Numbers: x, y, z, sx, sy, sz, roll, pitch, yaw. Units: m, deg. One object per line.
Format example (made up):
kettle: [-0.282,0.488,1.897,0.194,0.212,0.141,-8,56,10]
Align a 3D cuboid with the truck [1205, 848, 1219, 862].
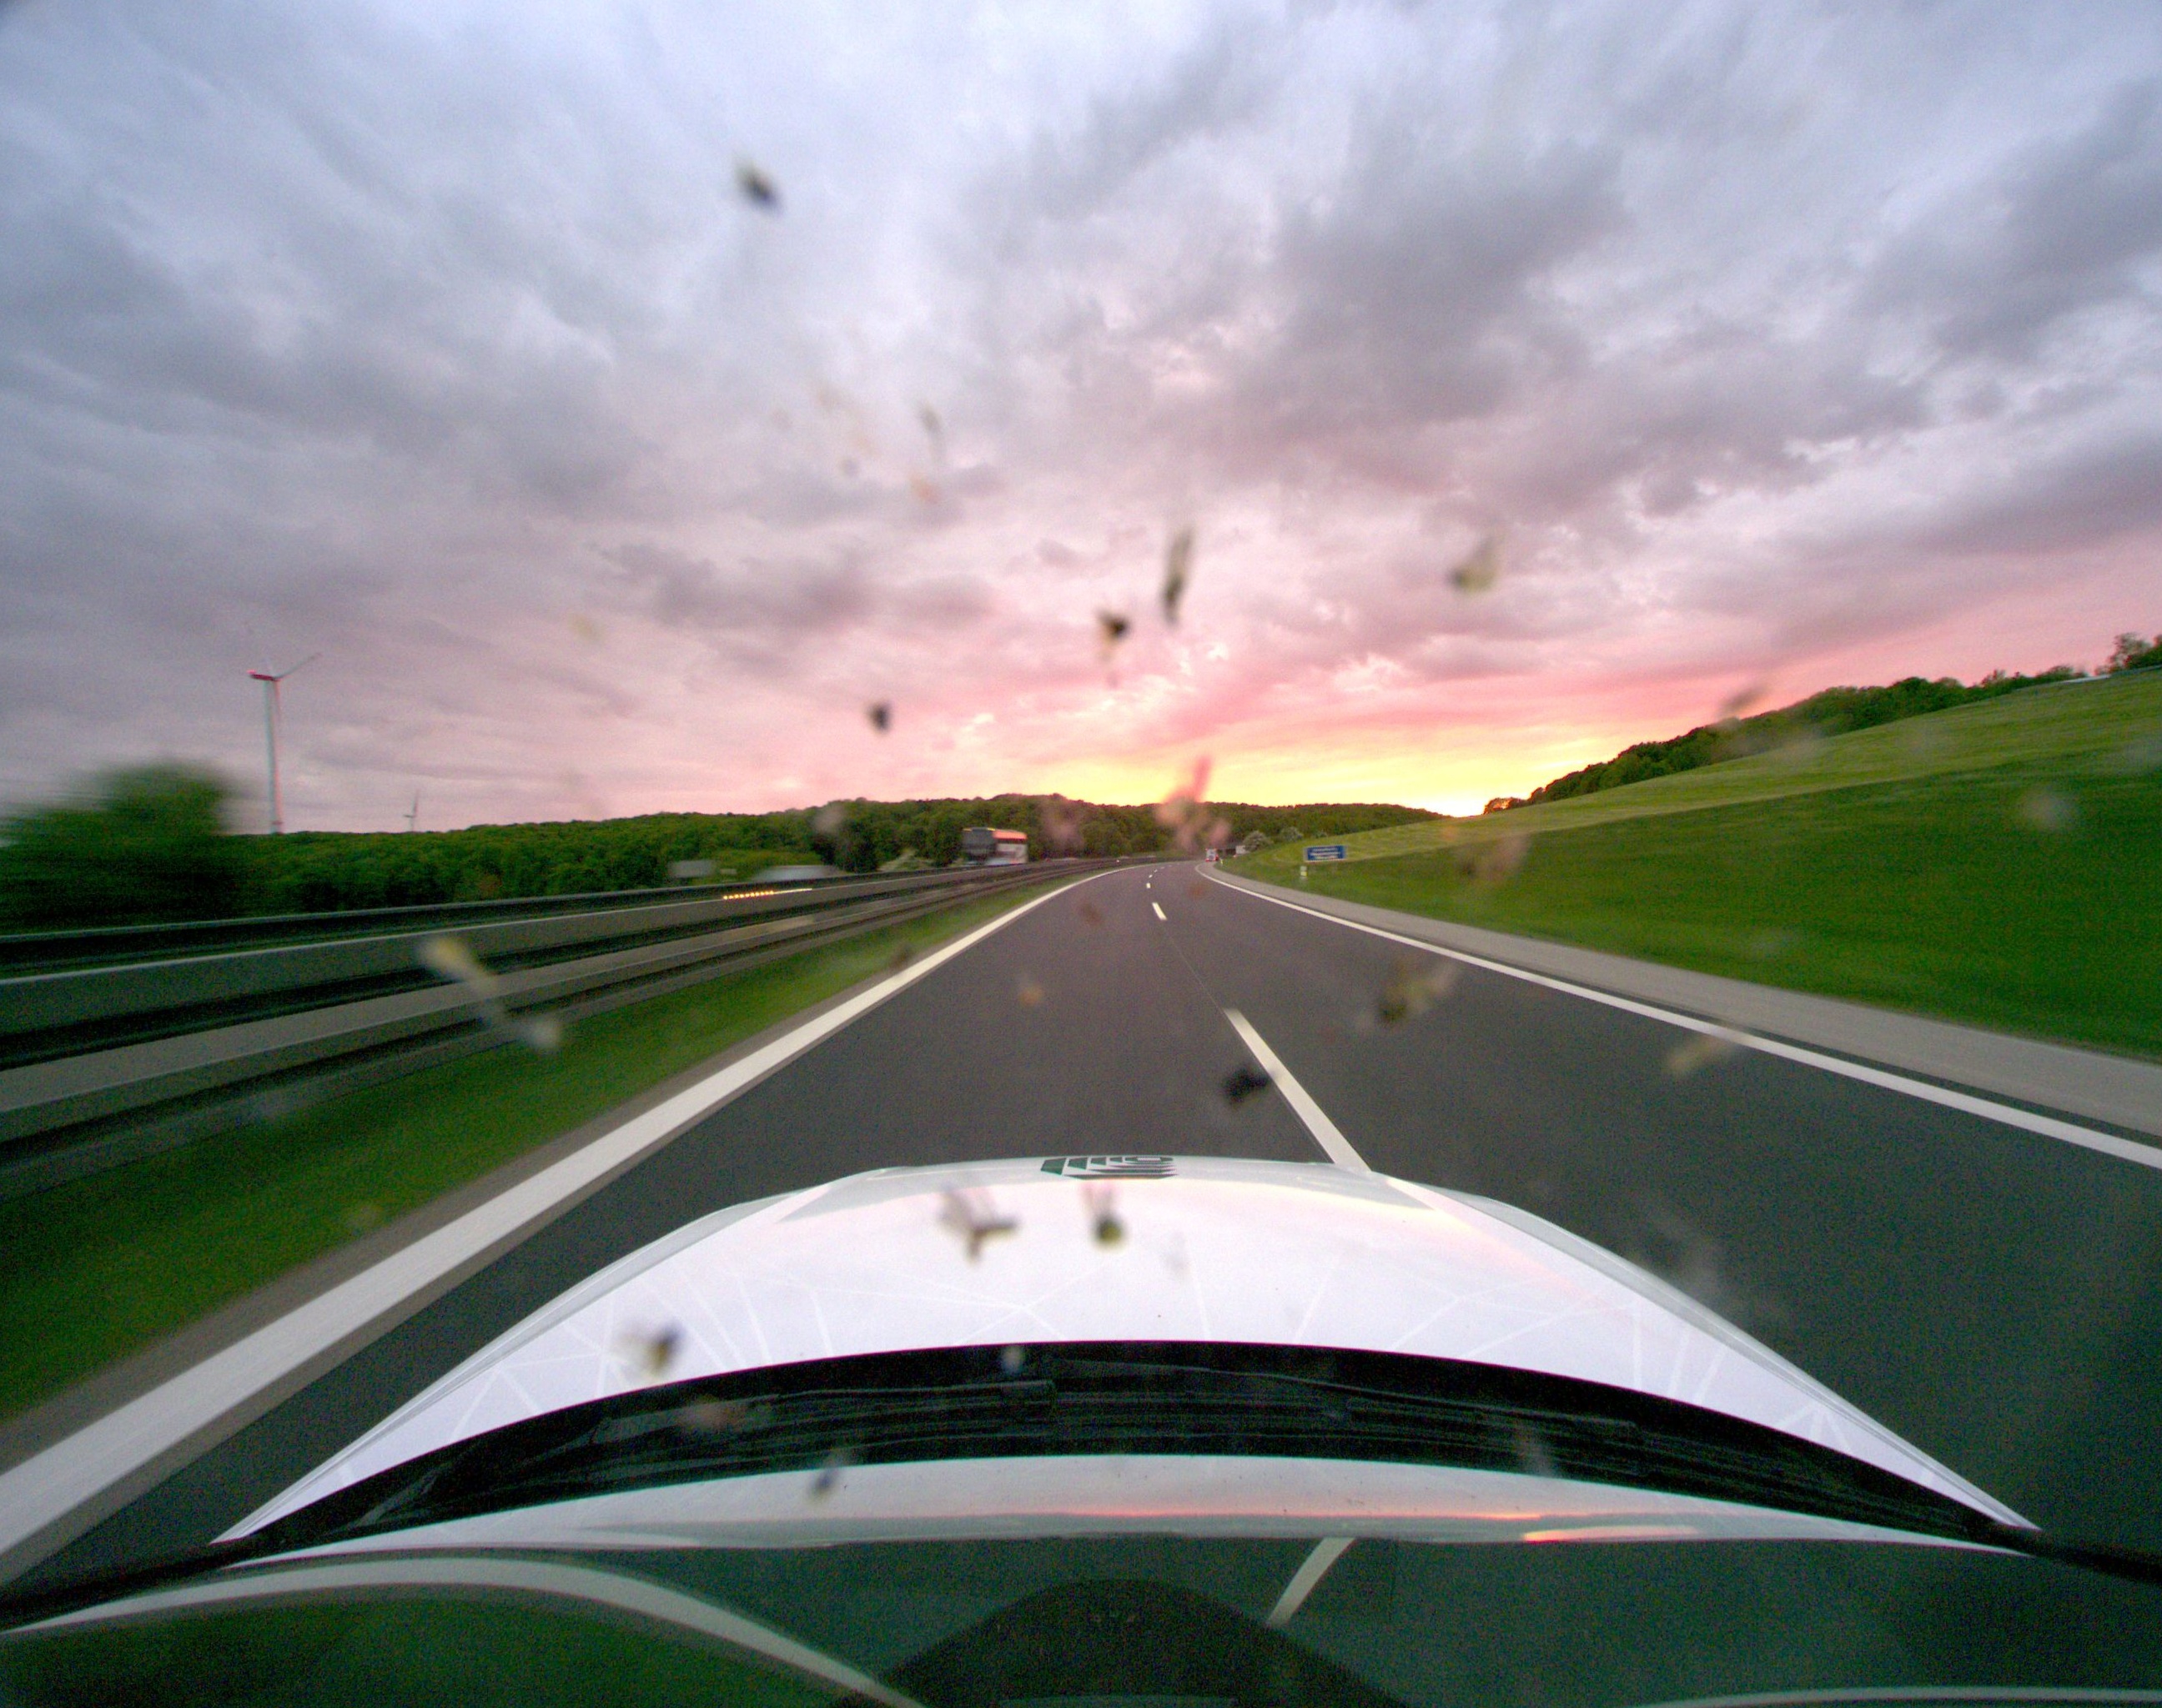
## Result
truck: [28.065,0.188,174.783,2.259,2.665,5.257,-3,0,15]

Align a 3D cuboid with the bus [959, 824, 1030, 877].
bus: [-7.138,-0.224,70.177,3.150,4.076,14.832,0,0,5]

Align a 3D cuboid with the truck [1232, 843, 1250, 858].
truck: [48.008,-0.878,243.760,3.927,4.287,14.385,-2,-1,17]

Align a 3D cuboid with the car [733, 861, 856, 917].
car: [-9.077,1.056,26.283,1.907,1.510,4.735,-3,0,4]
